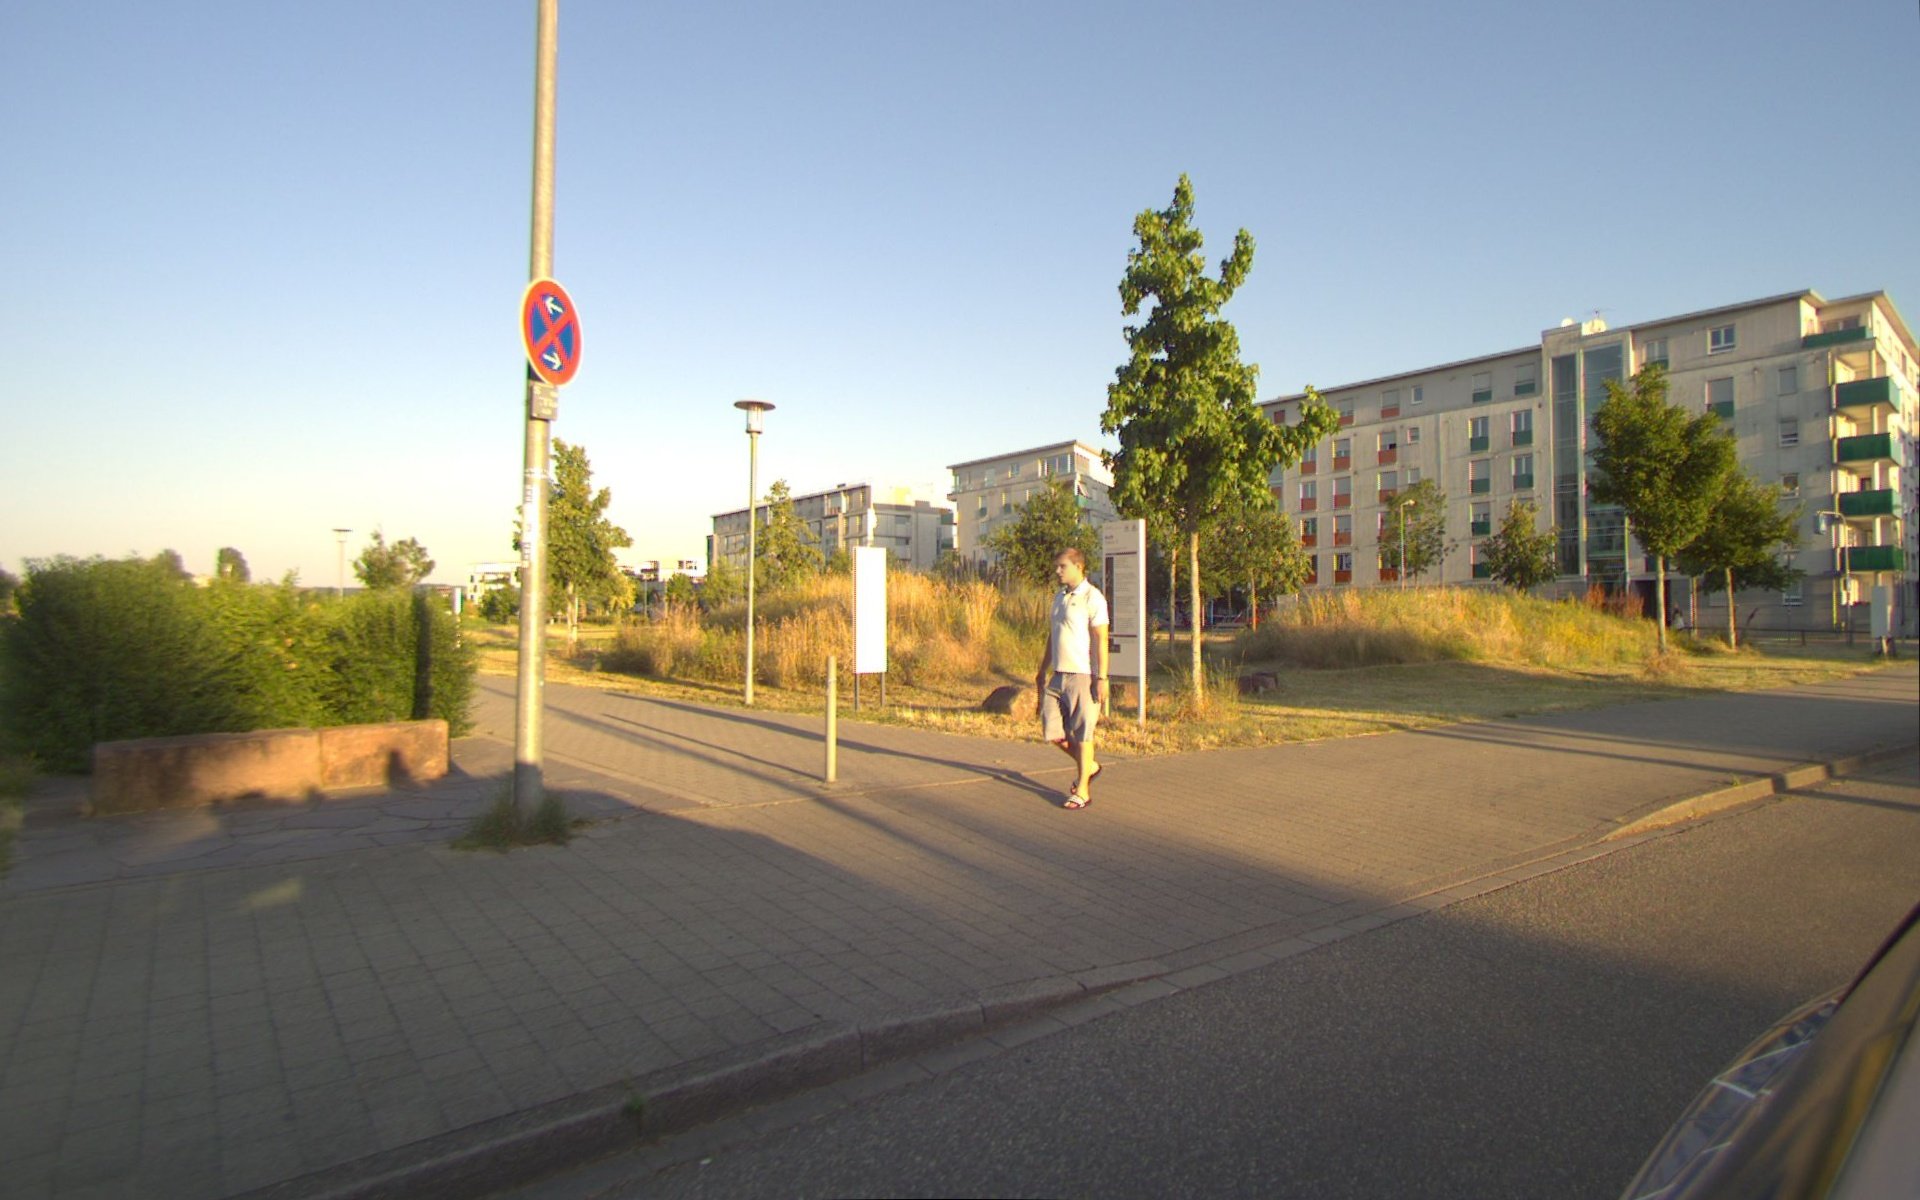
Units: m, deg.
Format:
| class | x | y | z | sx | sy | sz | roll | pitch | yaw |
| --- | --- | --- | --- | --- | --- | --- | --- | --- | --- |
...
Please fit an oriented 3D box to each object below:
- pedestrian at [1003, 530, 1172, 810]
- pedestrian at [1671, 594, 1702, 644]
| class | x | y | z | sx | sy | sz | roll | pitch | yaw |
| --- | --- | --- | --- | --- | --- | --- | --- | --- | --- |
| pedestrian | 0.876 | 0.430 | 7.040 | 0.802 | 1.788 | 0.834 | -1 | 2 | -35 |
| pedestrian | 26.645 | 0.689 | 37.125 | 0.787 | 1.807 | 0.733 | 2 | -3 | -40 |
